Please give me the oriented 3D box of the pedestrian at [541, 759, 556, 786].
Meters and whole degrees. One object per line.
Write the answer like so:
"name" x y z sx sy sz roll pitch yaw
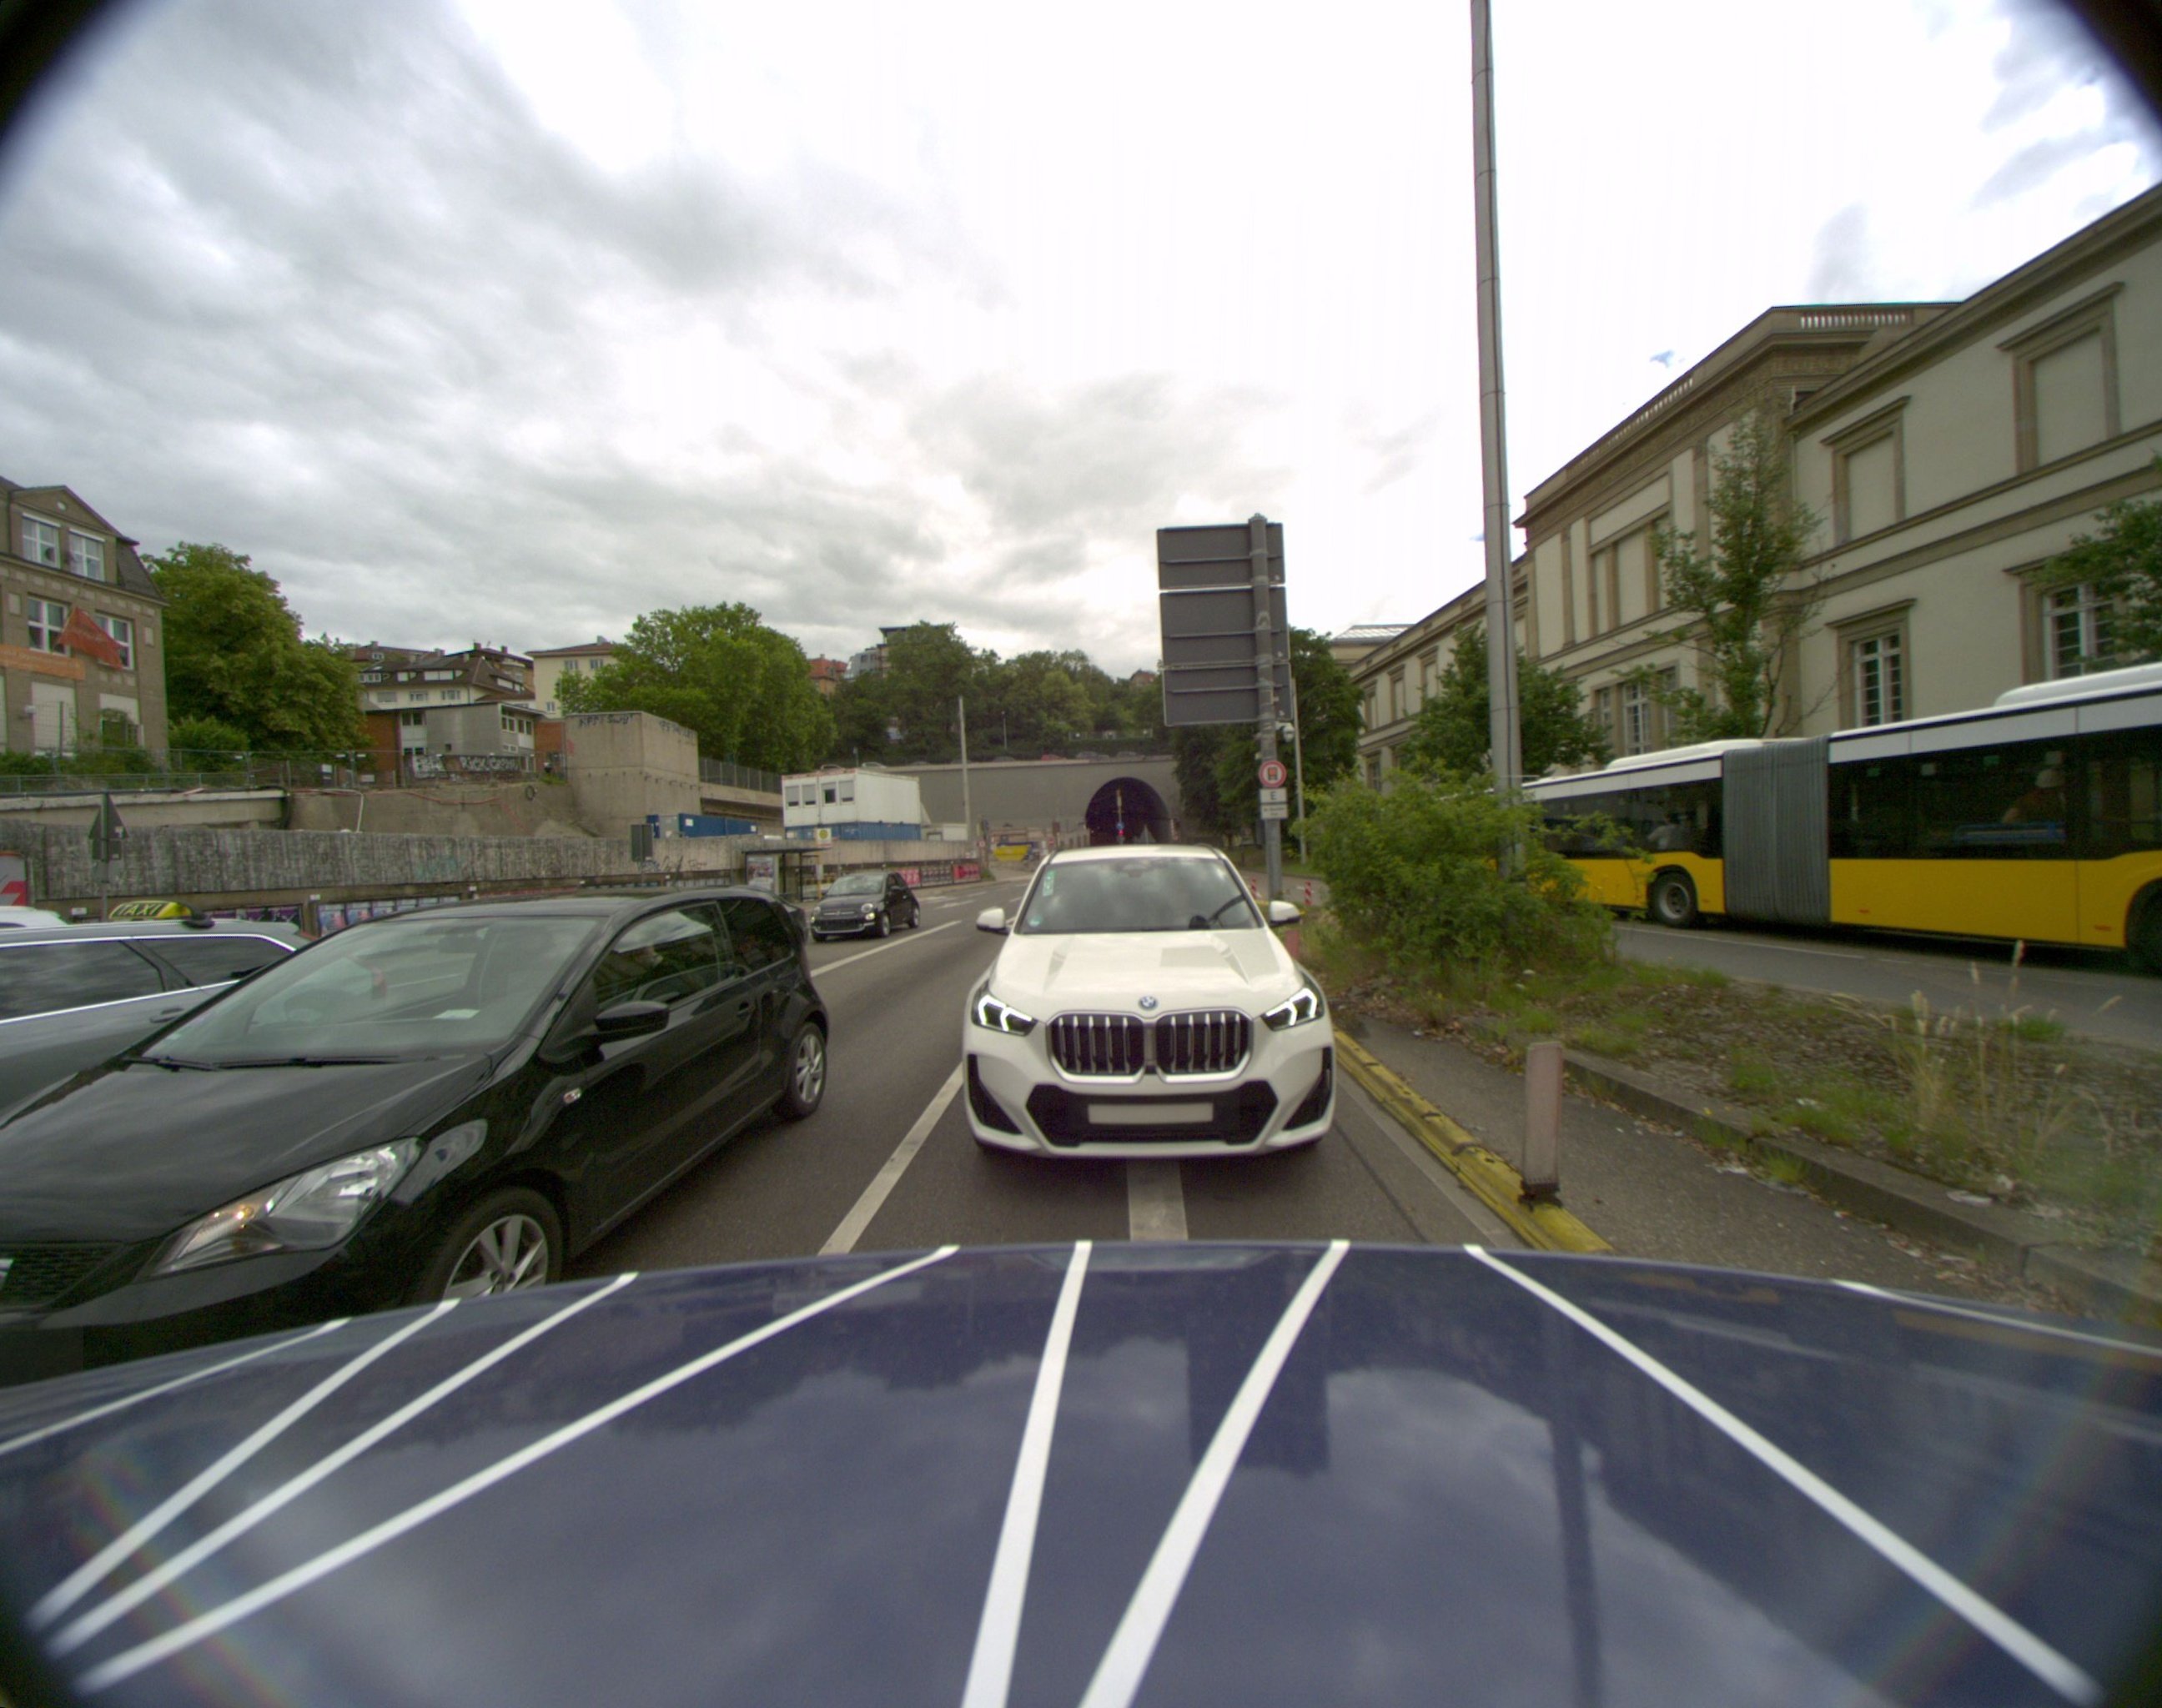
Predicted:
"pedestrian" -36.639 -5.586 52.267 0.554 1.784 0.569 -2 1 2

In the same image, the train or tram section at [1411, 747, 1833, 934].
"train or tram section" 11.004 -0.228 17.258 2.701 3.053 9.375 -1 0 -1

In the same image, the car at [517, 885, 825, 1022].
"car" -5.395 1.225 10.770 1.826 1.356 4.219 -2 0 4

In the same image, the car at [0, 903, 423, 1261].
"car" -5.820 1.142 3.464 1.826 1.457 4.217 -2 1 2

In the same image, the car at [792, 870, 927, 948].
"car" -4.969 1.181 17.591 1.720 1.450 3.782 -3 0 4

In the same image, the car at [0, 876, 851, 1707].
"car" -2.525 0.978 3.285 1.661 1.547 3.911 -2 1 3

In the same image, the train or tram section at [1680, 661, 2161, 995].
"train or tram section" 11.254 -0.258 7.885 2.700 3.053 9.336 -1 0 0

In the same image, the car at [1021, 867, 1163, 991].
"car" 0.226 0.990 11.608 1.756 1.427 3.911 -2 0 3

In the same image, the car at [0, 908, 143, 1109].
"car" -9.146 1.258 4.589 1.826 1.457 4.073 -2 1 0

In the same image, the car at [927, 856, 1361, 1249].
"car" 0.344 0.847 5.132 1.756 1.547 3.911 -2 1 3
